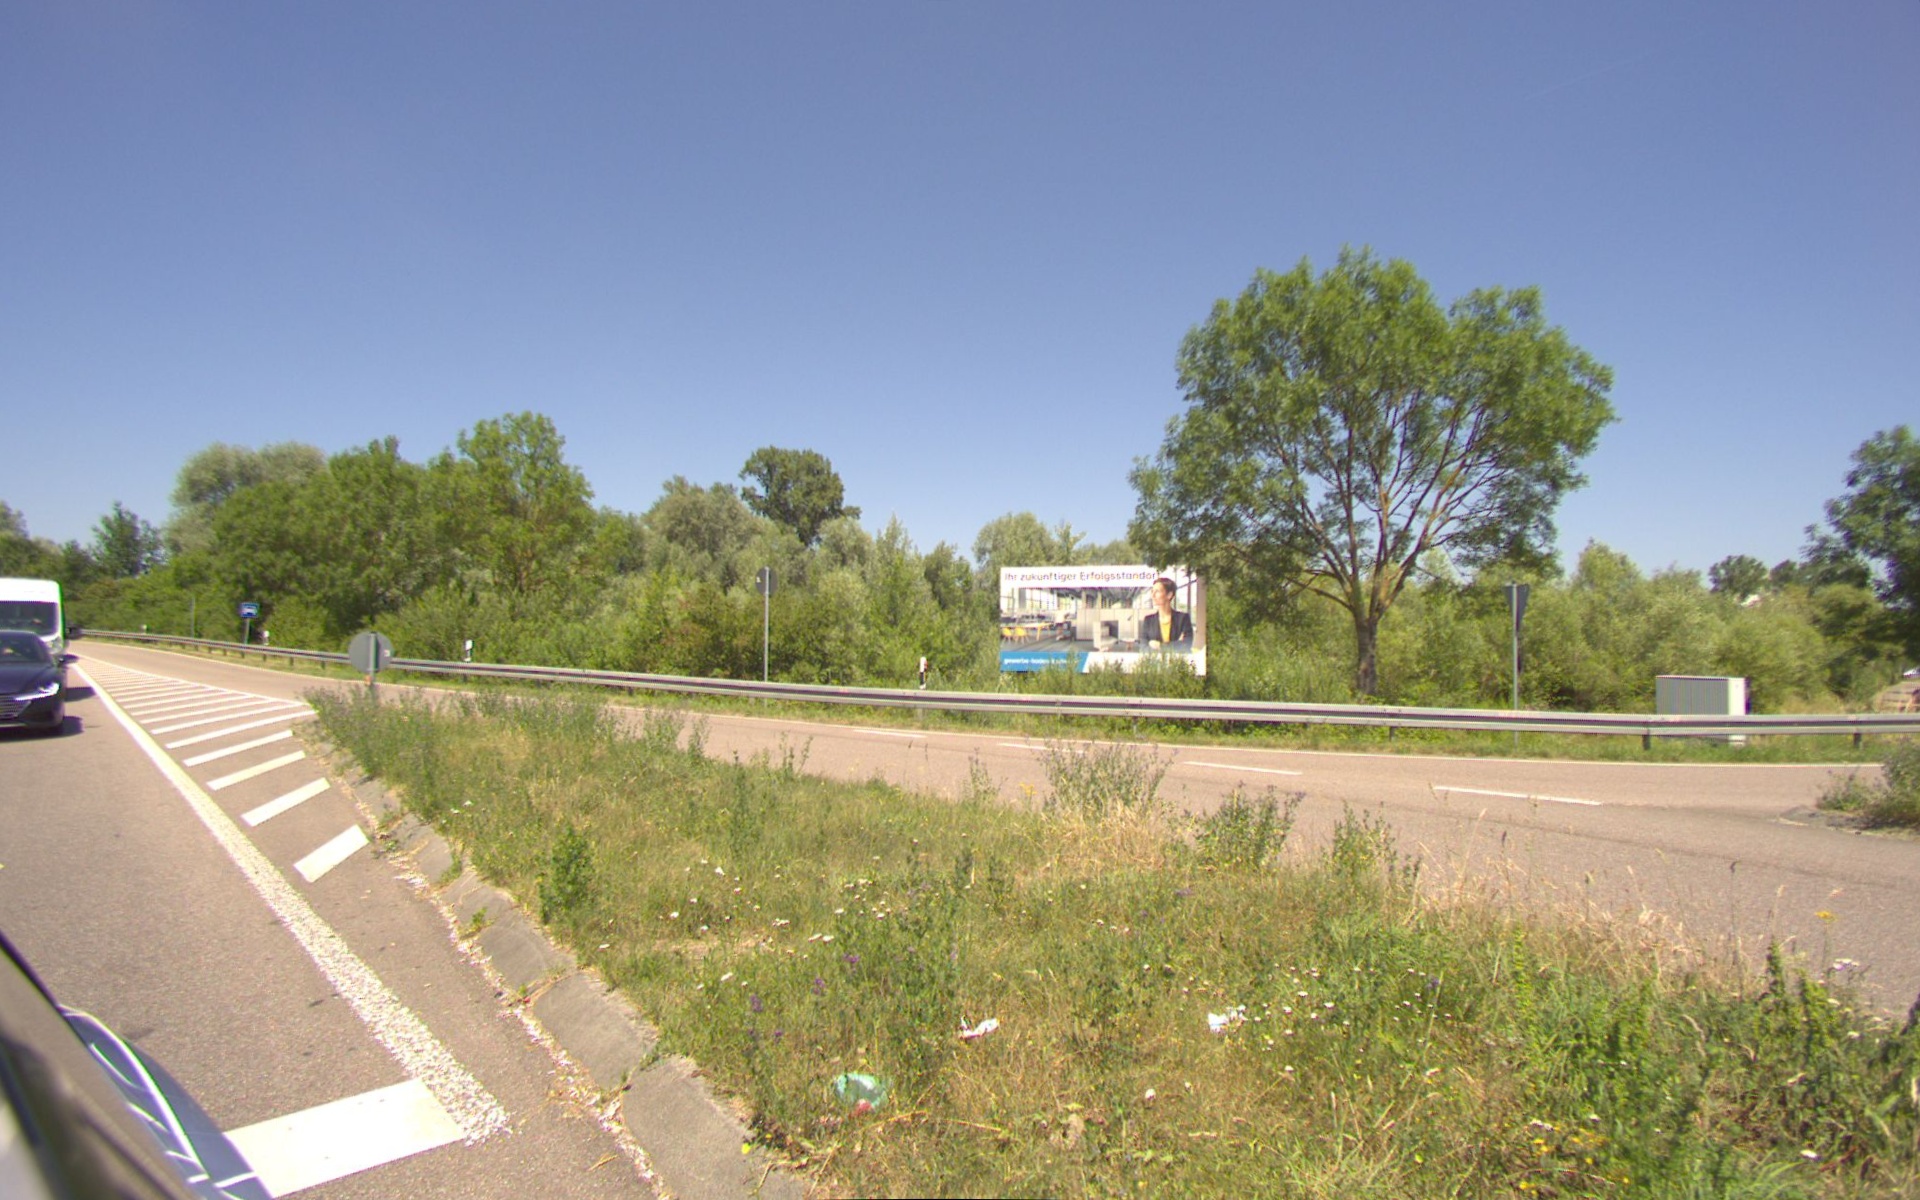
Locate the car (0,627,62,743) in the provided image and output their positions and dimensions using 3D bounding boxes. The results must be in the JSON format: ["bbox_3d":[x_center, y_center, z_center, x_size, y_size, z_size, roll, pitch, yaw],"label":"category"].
[{"bbox_3d":[-13.666,1.102,14.007,1.820,1.434,4.568,2,-2,-42],"label":"car"}]

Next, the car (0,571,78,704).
[{"bbox_3d":[-20.194,0.797,21.414,2.195,2.514,5.990,1,-2,-42],"label":"car"}]

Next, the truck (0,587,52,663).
[{"bbox_3d":[-43.690,1.182,46.303,2.656,3.220,9.182,3,-4,-44],"label":"truck"}]
